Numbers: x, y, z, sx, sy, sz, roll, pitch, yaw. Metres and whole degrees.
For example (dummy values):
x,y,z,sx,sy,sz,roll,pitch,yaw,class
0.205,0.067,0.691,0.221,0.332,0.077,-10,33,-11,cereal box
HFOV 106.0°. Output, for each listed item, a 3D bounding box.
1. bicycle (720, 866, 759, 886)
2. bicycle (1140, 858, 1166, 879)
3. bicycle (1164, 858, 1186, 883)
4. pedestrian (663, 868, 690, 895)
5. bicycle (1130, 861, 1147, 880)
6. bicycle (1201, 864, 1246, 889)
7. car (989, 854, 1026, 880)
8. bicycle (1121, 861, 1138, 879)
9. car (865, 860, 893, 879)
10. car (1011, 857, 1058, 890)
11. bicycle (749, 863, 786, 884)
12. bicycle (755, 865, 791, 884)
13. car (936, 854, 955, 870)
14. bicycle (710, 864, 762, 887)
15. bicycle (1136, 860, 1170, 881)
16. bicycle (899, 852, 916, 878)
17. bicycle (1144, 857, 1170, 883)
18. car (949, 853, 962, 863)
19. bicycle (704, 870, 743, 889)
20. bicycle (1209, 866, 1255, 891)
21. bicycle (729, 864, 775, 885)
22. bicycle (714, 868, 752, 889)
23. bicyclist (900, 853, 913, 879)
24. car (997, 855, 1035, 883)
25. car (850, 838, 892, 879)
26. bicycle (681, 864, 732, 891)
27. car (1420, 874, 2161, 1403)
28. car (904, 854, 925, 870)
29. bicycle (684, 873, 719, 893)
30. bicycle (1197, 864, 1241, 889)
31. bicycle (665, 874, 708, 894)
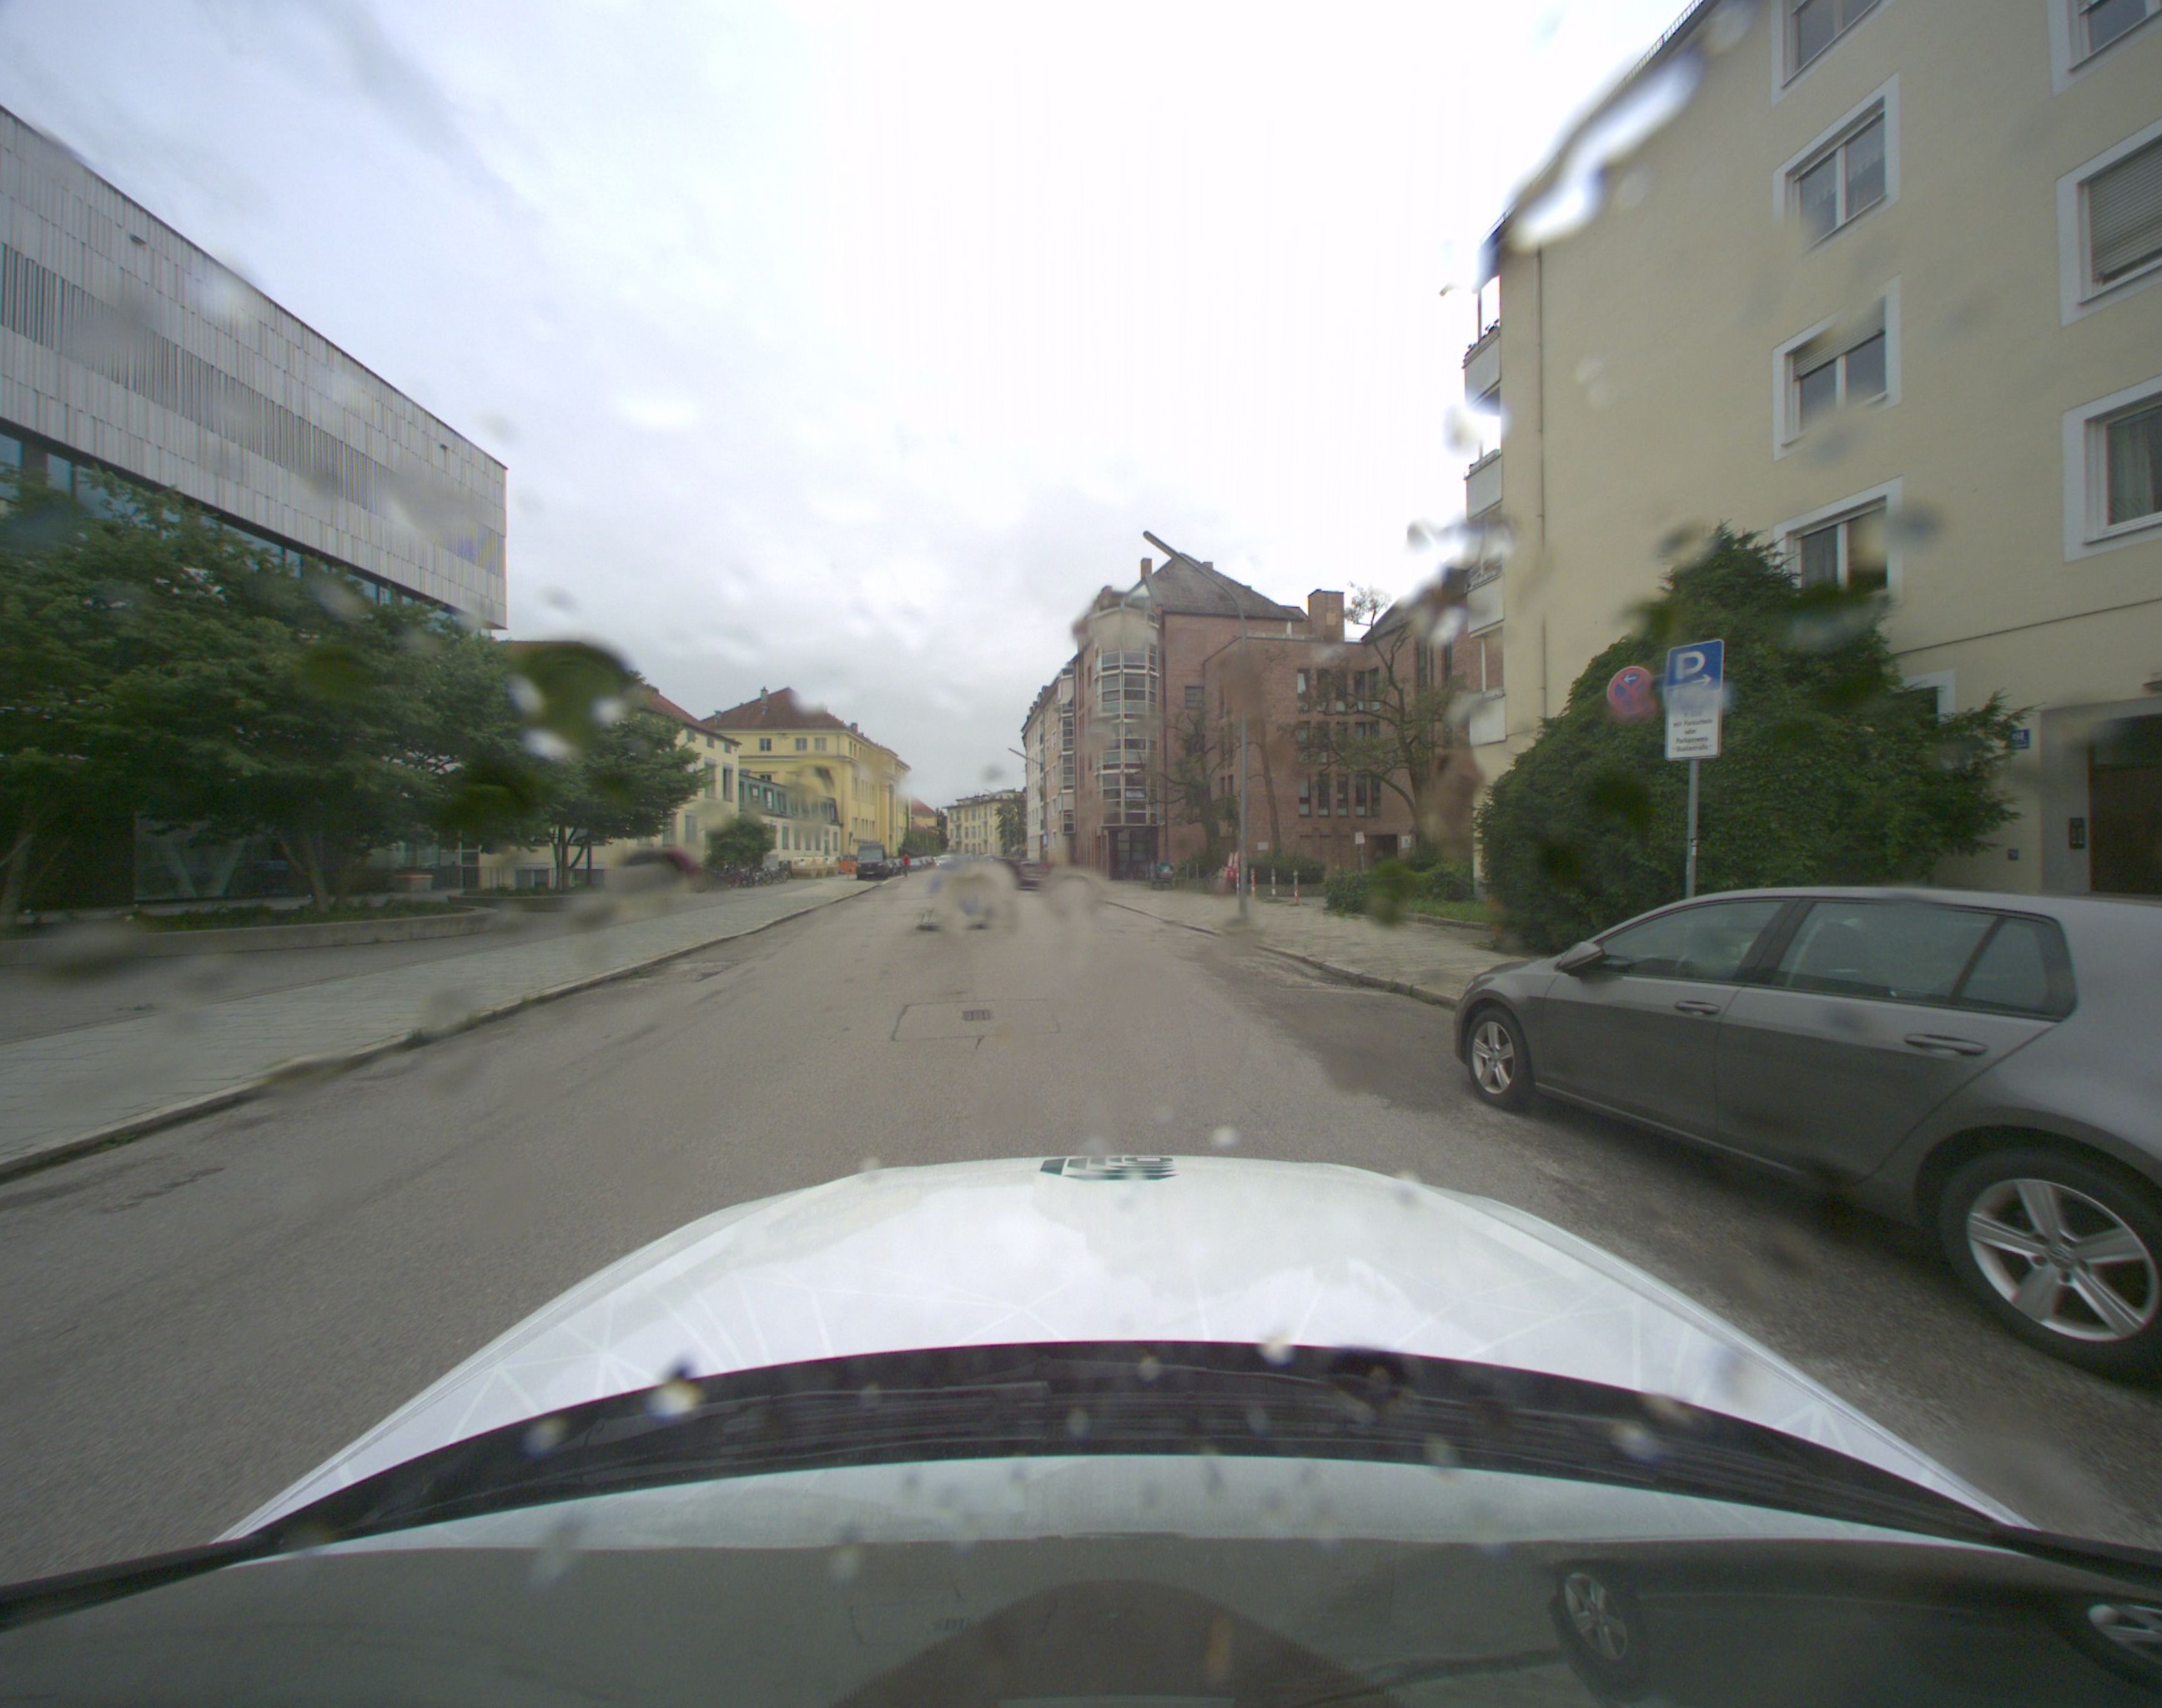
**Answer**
x,y,z,sx,sy,sz,roll,pitch,yaw,class
-18.467,1.197,44.053,1.860,1.029,0.540,1,0,1,bicycle
4.201,0.849,47.532,1.473,1.147,0.382,1,0,-4,bicycle
4.580,0.801,39.676,0.416,1.173,1.370,2,1,36,bicycle
-18.512,1.243,37.276,0.717,1.163,1.039,1,0,-4,pedestrian
3.415,0.977,48.673,0.486,1.060,1.988,1,0,-11,bicycle
5.805,0.927,33.137,1.700,0.965,0.544,1,0,-9,bicycle
-5.125,0.844,56.064,1.966,1.602,4.652,1,1,-12,car
2.896,0.946,48.570,0.486,1.060,1.988,1,-1,-11,bicycle
-16.559,1.262,66.842,1.697,1.453,3.732,1,1,-7,car
-2.373,0.936,40.575,1.924,1.512,4.378,1,0,-9,car
-18.534,1.151,48.141,1.949,1.131,0.573,1,0,1,bicycle
-18.805,1.269,49.779,1.898,1.092,0.678,1,0,1,bicycle
-15.403,0.923,92.729,2.024,1.621,4.492,-2,-1,-8,car
-18.336,1.148,43.324,2.544,1.206,0.424,0,0,1,bicycle
4.154,0.941,47.077,1.844,1.147,0.487,1,0,-4,bicycle
-13.760,0.857,64.593,0.746,2.013,2.844,-2,1,-3,bicycle
3.832,0.806,41.299,0.535,1.248,2.401,1,-1,-14,bicycle
-21.145,0.736,137.202,1.991,1.548,3.992,1,1,-6,car
-18.041,1.271,41.072,1.668,0.916,0.595,1,0,1,bicycle
5.985,0.971,32.279,1.700,0.965,0.544,1,0,-9,bicycle
-18.370,1.147,45.439,2.302,1.135,0.582,1,0,1,bicycle
-18.221,1.275,42.647,1.784,1.033,0.507,1,0,1,bicycle
-13.798,0.968,64.465,0.765,2.013,0.767,-4,1,-4,bicyclist
-4.120,0.915,51.094,1.832,1.602,4.248,1,1,-12,car
-15.201,0.346,59.195,2.422,2.715,5.931,-2,-1,-10,car
-18.179,1.150,39.529,2.097,1.227,0.787,1,0,1,bicycle
3.562,0.827,3.907,1.753,1.396,4.032,1,-1,-9,car
-17.411,0.843,85.475,1.770,1.550,3.770,1,1,-6,car
-17.547,1.354,37.636,1.368,0.862,0.439,1,0,-3,bicycle
5.720,0.939,33.754,1.700,0.965,0.544,1,0,-9,bicycle
-17.777,1.358,36.714,1.715,0.862,0.439,1,0,-3,bicycle
